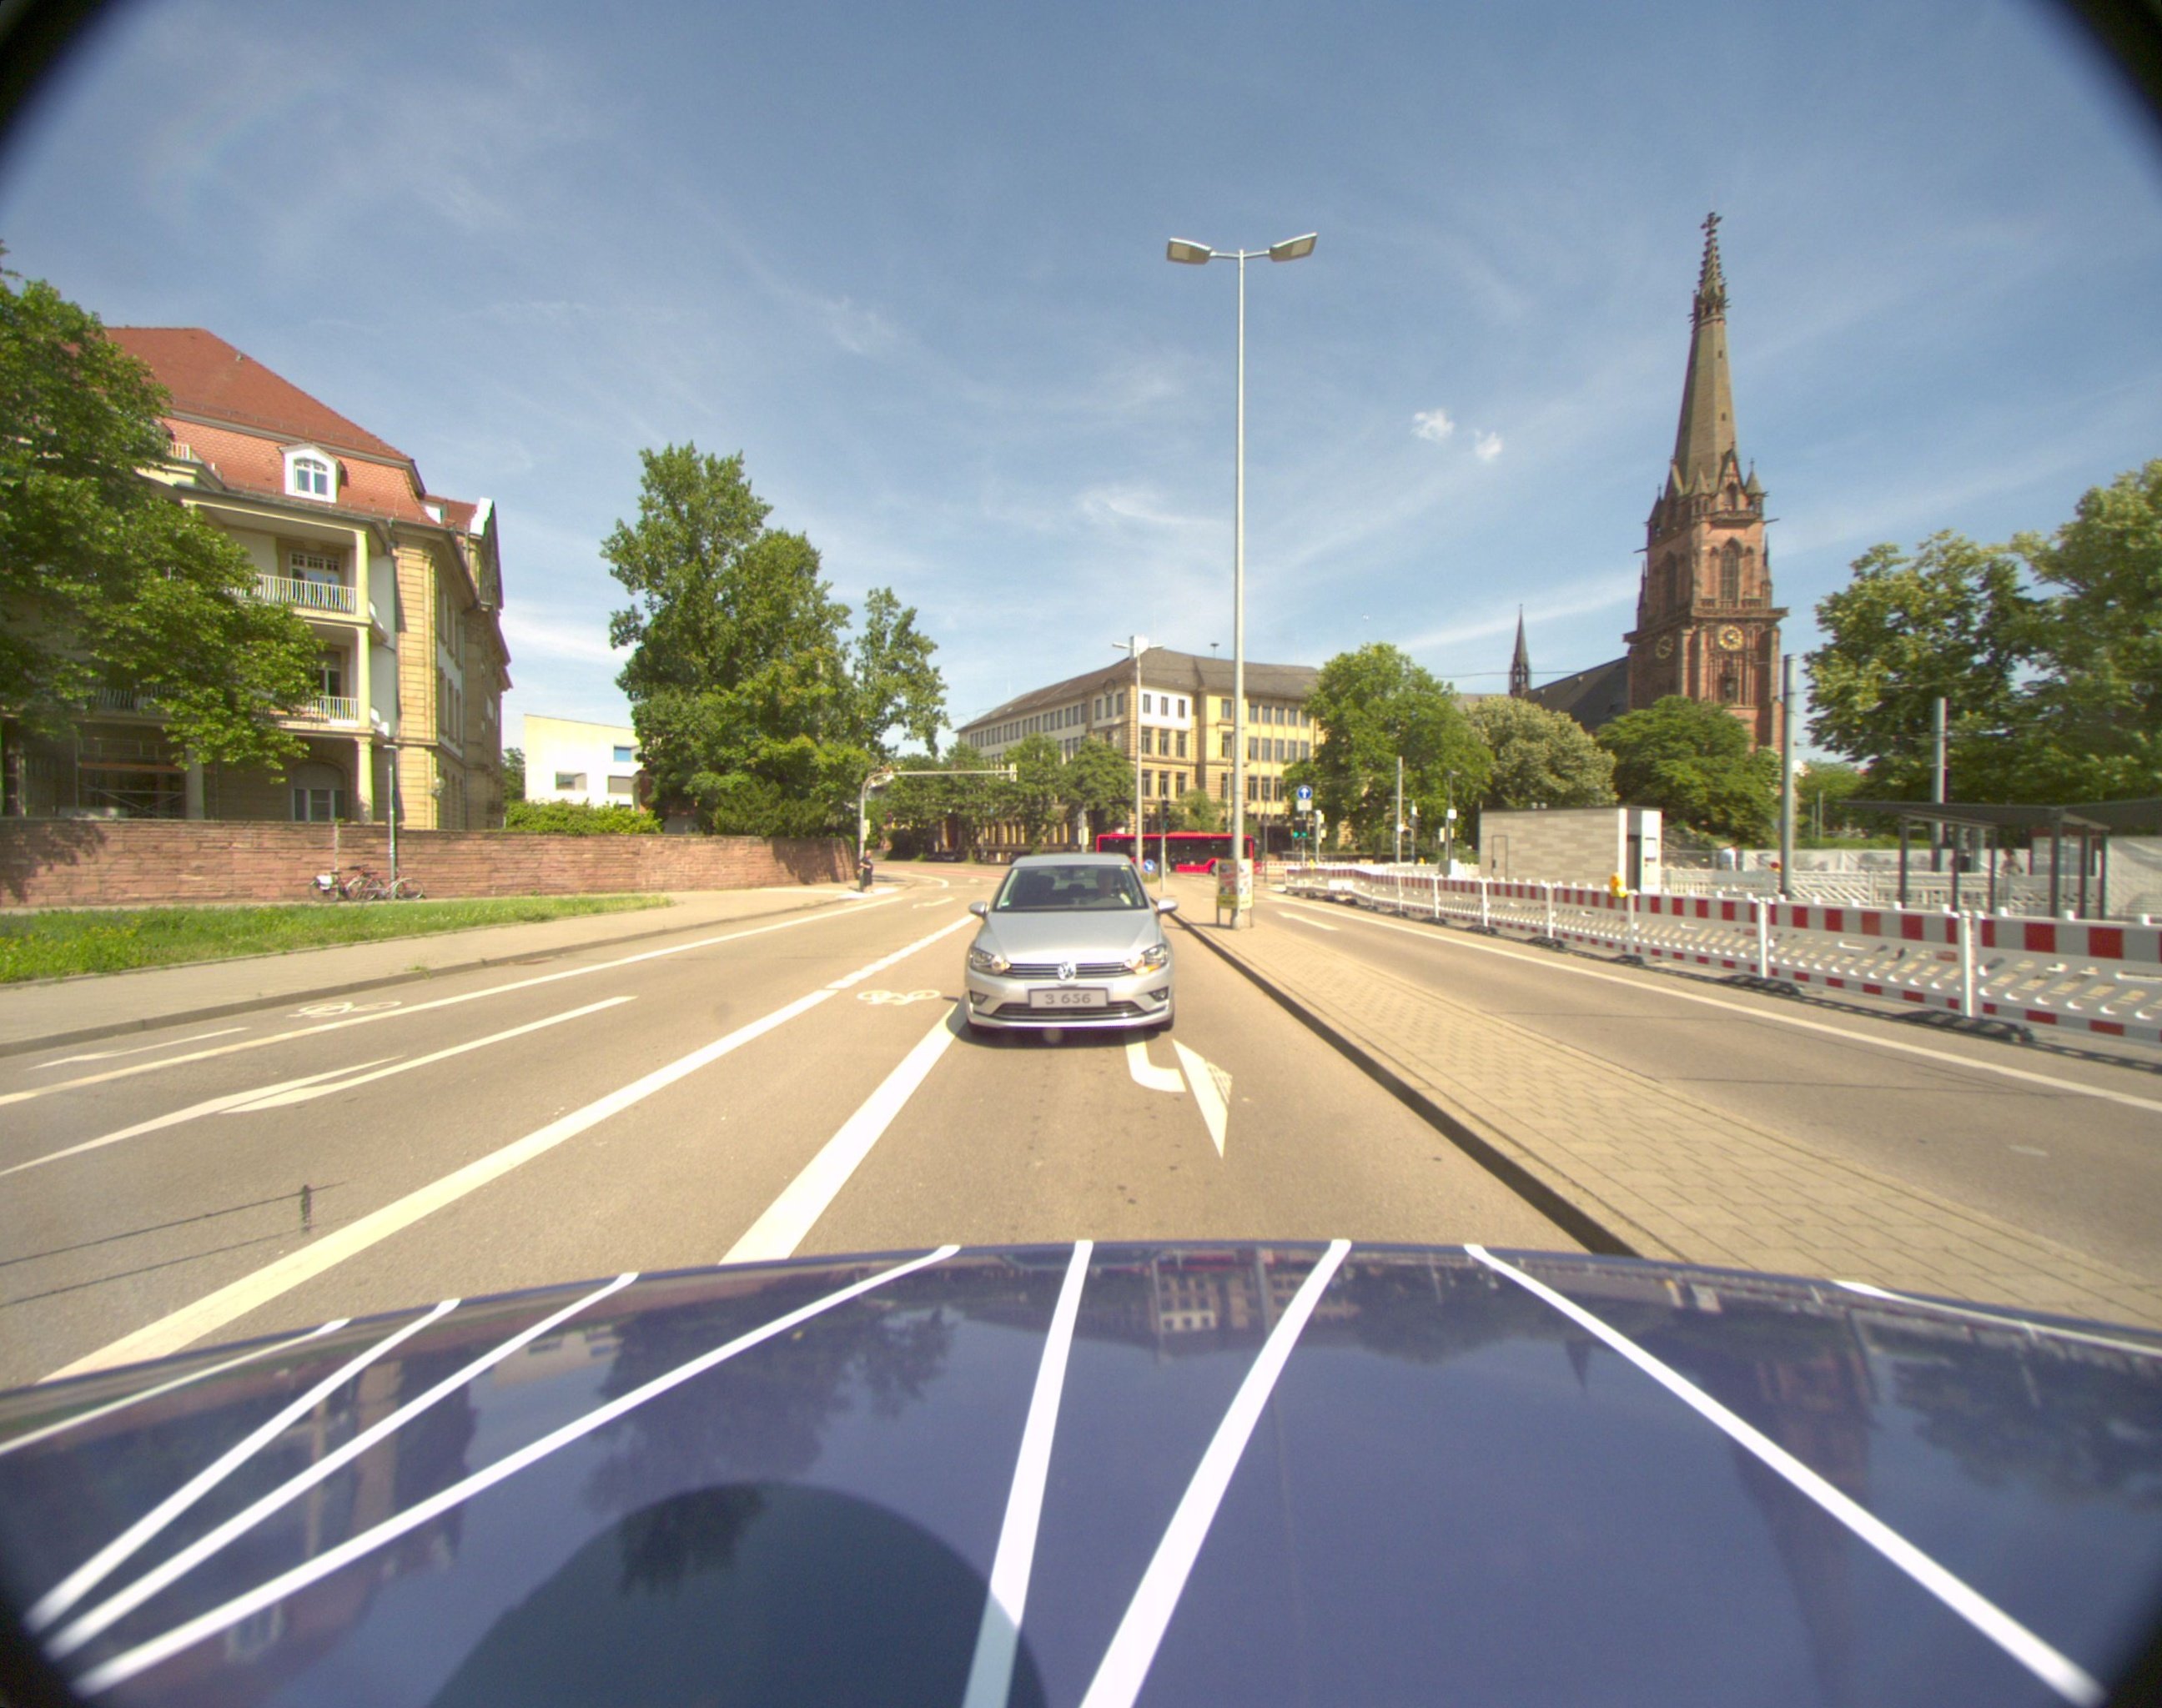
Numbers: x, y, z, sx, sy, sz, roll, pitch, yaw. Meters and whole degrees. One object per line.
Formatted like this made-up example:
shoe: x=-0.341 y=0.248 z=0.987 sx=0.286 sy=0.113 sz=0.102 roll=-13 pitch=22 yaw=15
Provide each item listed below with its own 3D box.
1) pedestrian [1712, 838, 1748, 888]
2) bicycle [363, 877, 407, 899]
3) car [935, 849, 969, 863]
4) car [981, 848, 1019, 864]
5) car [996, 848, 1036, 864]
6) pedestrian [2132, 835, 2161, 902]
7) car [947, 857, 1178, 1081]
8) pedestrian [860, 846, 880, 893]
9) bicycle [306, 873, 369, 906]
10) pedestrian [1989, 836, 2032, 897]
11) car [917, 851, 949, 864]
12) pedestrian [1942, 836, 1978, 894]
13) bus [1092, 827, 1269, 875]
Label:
pedestrian: x=26.186 y=0.367 z=30.650 sx=0.820 sy=2.002 sz=0.686 roll=1 pitch=1 yaw=3
bicycle: x=-20.772 y=1.007 z=22.683 sx=0.274 sy=0.598 sz=0.950 roll=1 pitch=1 yaw=39
car: x=-17.580 y=0.299 z=103.572 sx=4.006 sy=1.653 sz=1.994 roll=-3 pitch=4 yaw=-35
car: x=-9.717 y=0.184 z=90.832 sx=4.007 sy=1.653 sz=1.994 roll=-3 pitch=4 yaw=-36
car: x=-7.458 y=0.177 z=87.288 sx=4.006 sy=1.653 sz=1.994 roll=-3 pitch=4 yaw=-34
pedestrian: x=32.711 y=0.437 z=23.155 sx=0.822 sy=2.002 sz=0.685 roll=0 pitch=1 yaw=-30
car: x=-0.041 y=0.854 z=7.683 sx=1.687 sy=1.577 sz=4.152 roll=1 pitch=1 yaw=3
pedestrian: x=-9.005 y=0.644 z=32.402 sx=0.796 sy=2.002 sz=0.615 roll=0 pitch=1 yaw=-14
bicycle: x=-21.308 y=0.991 z=21.795 sx=0.393 sy=0.878 sz=1.230 roll=1 pitch=1 yaw=20
pedestrian: x=31.388 y=0.405 z=25.659 sx=0.688 sy=2.002 sz=0.818 roll=0 pitch=1 yaw=-35
car: x=-21.050 y=0.478 z=108.308 sx=4.006 sy=1.653 sz=1.994 roll=-3 pitch=4 yaw=-34
pedestrian: x=30.827 y=0.371 z=26.644 sx=0.822 sy=2.002 sz=0.684 roll=0 pitch=1 yaw=-33
bus: x=7.075 y=-0.150 z=55.370 sx=12.381 sy=3.076 sz=3.138 roll=-2 pitch=1 yaw=28
